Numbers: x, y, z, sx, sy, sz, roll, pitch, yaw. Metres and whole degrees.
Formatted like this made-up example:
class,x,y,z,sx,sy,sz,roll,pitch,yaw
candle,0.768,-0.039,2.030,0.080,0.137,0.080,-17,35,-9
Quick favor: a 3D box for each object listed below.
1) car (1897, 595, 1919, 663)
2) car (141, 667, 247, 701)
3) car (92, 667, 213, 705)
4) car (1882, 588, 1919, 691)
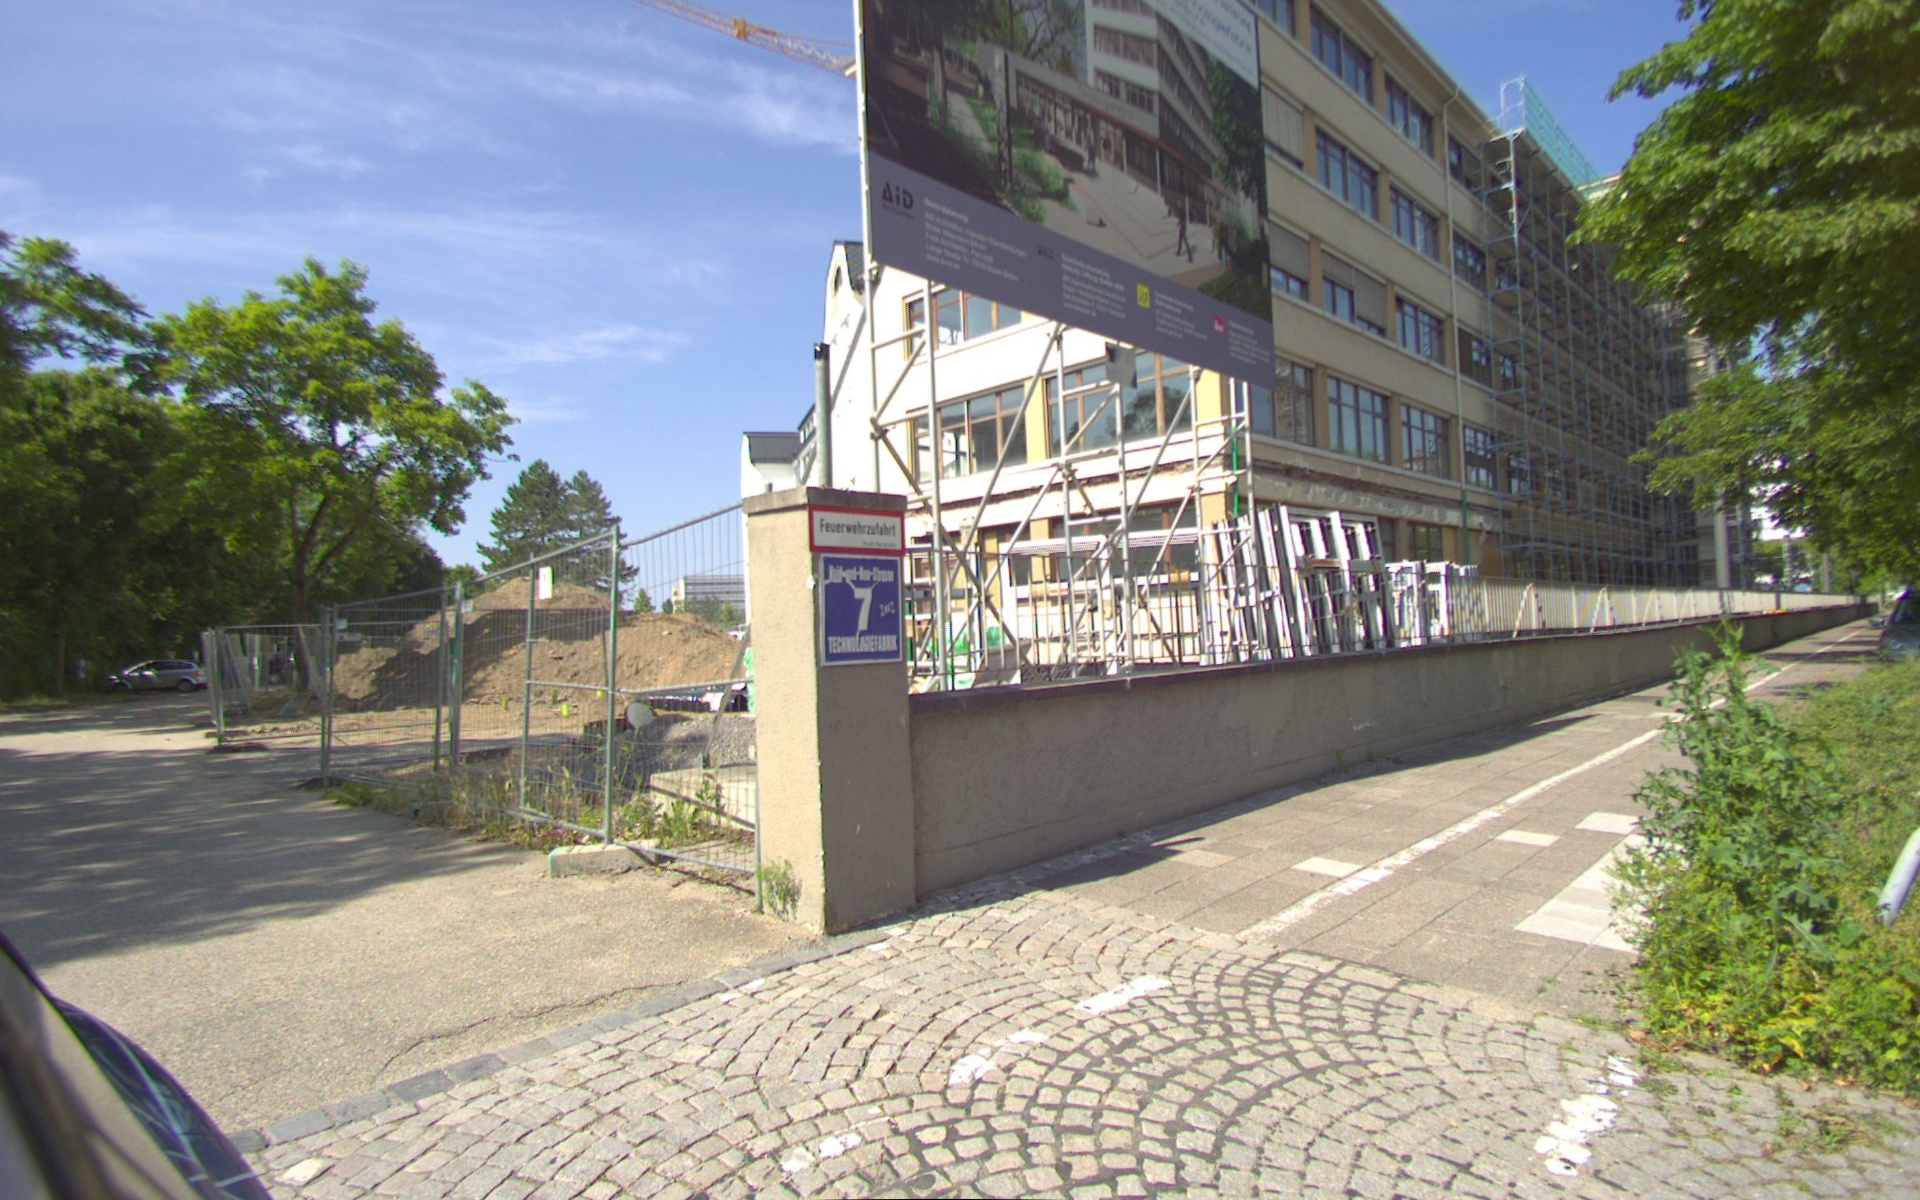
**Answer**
class,x,y,z,sx,sy,sz,roll,pitch,yaw
car,22.481,0.609,22.847,1.821,1.464,3.942,-5,-4,44
car,-38.537,4.202,51.017,3.931,1.453,2.006,-1,-3,-25
car,-36.585,3.866,45.990,3.931,1.519,2.006,-1,-3,-25
car,15.808,0.565,15.865,1.821,1.506,4.048,-5,-4,44
